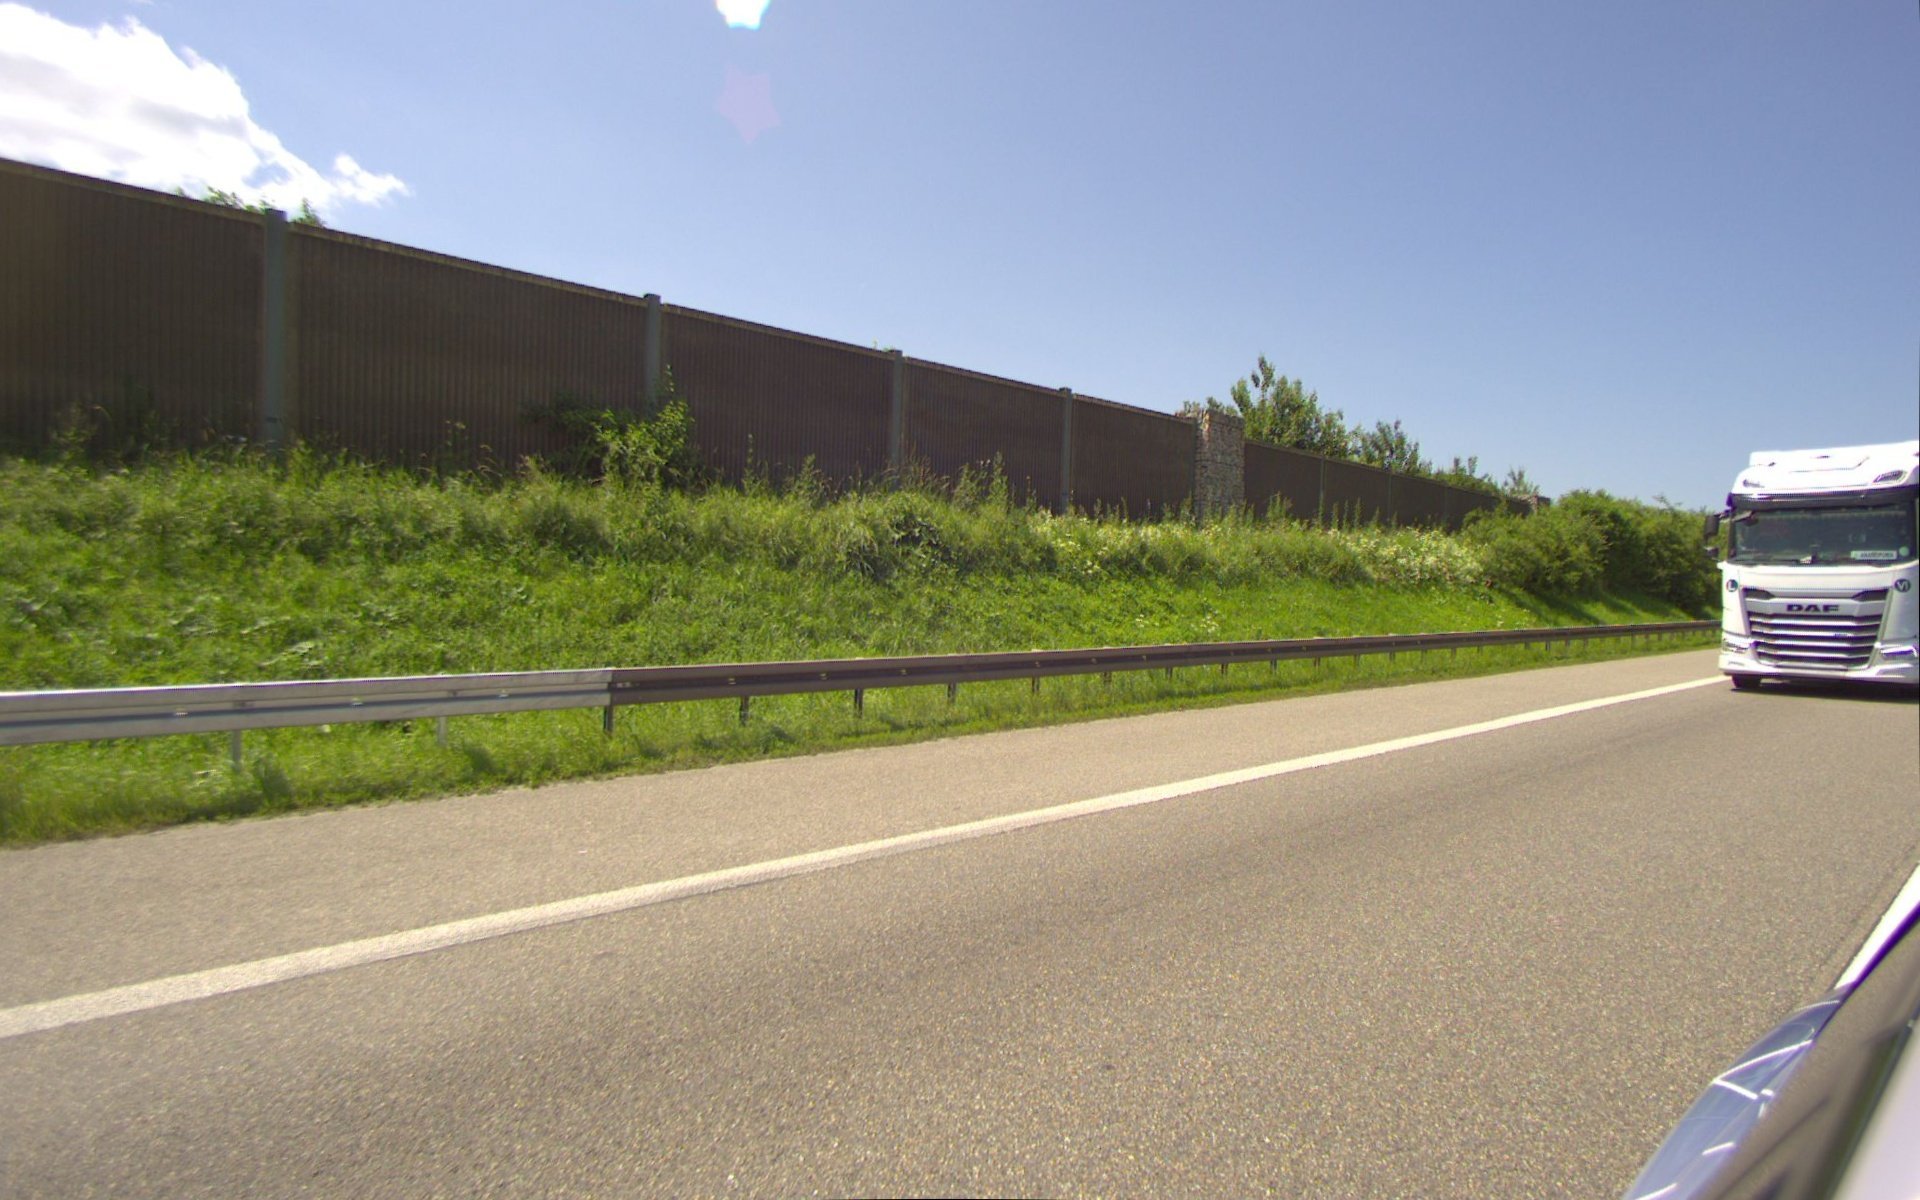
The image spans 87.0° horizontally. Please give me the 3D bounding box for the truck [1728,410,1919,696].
[{"bbox_3d":[15.225,-0.701,17.101,6.272,4.027,2.481,0,1,-42],"label":"truck"}]

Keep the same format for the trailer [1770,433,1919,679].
[{"bbox_3d":[20.192,-0.770,21.619,13.423,4.027,2.481,0,1,-43],"label":"trailer"}]
